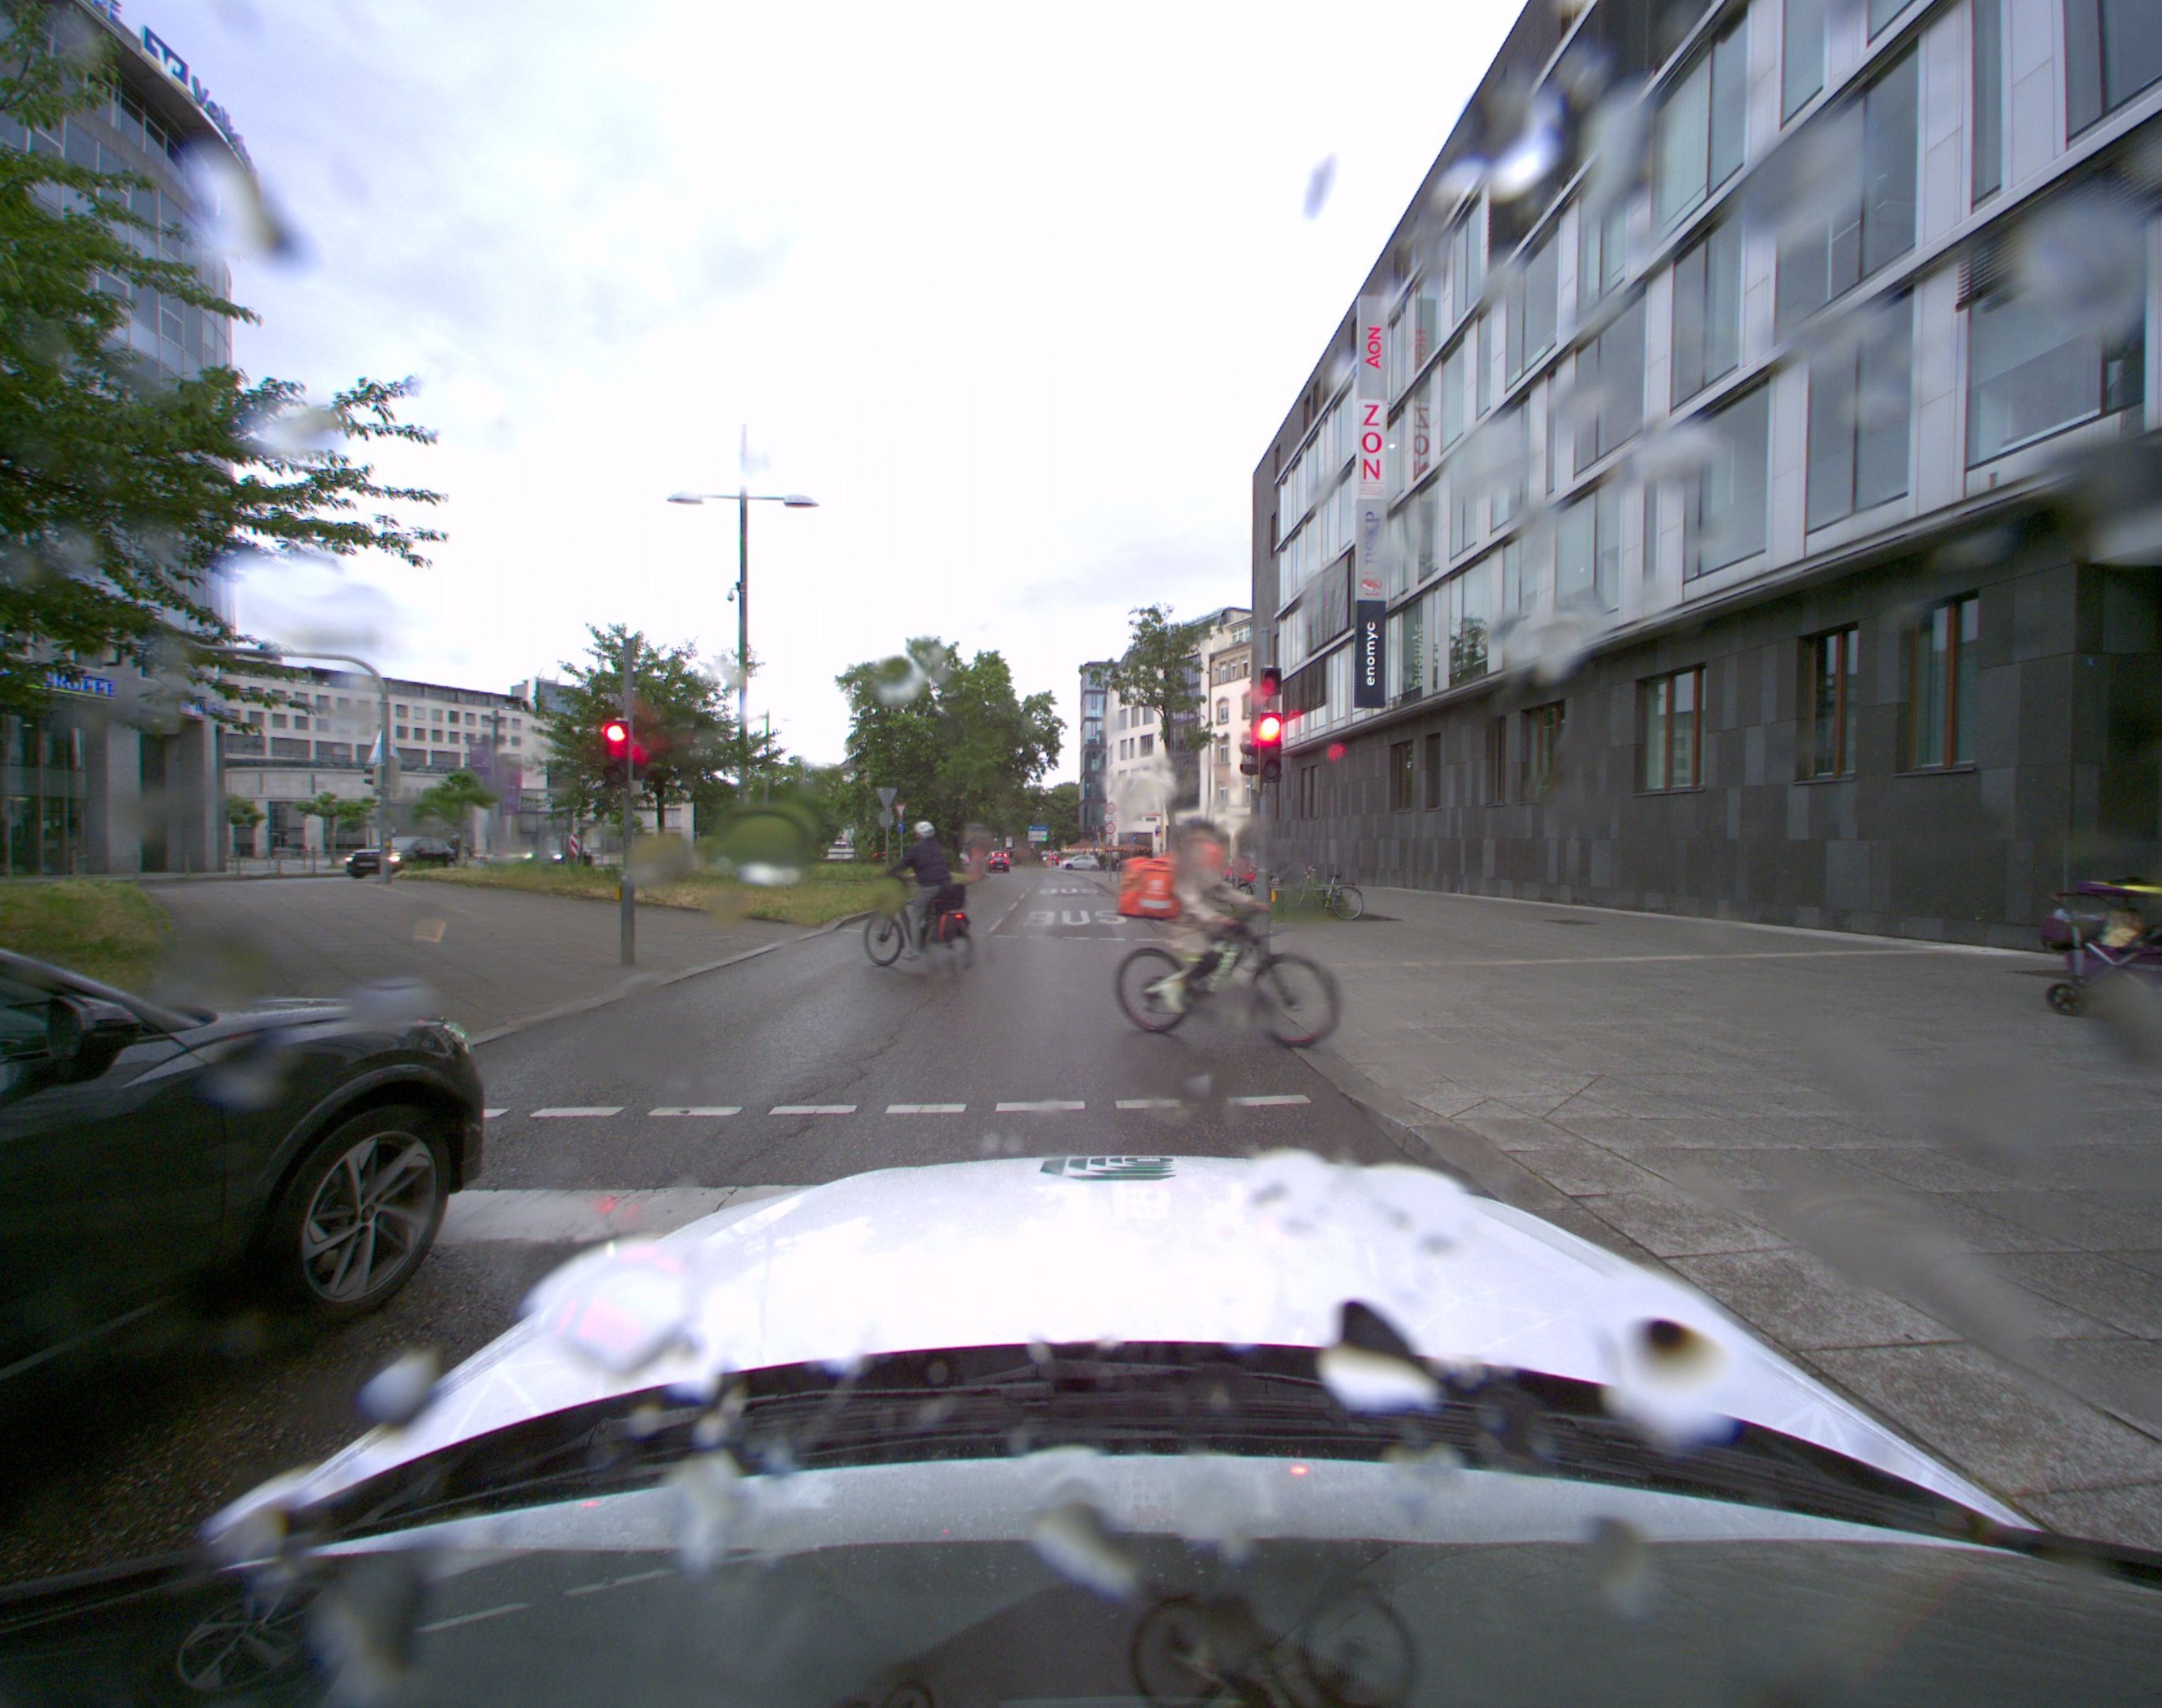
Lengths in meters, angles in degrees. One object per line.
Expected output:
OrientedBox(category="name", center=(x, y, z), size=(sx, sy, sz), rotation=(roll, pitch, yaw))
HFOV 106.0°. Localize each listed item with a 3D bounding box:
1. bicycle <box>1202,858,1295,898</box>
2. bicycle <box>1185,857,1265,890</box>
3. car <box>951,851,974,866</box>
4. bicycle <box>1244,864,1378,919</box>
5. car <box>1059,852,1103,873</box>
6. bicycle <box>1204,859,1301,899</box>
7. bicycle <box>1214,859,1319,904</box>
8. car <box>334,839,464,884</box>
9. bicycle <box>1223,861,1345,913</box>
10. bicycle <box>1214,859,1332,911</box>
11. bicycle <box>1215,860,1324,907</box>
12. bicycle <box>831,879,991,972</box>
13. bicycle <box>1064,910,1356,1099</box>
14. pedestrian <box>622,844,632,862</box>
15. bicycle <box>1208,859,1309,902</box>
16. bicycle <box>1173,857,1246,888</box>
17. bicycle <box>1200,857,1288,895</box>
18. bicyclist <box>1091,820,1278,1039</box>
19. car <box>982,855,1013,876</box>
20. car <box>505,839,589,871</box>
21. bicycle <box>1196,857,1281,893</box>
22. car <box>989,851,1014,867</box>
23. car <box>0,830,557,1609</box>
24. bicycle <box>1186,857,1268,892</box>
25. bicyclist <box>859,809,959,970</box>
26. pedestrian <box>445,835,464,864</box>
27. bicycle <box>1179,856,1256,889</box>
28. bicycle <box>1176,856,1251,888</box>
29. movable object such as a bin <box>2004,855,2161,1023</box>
OrientedBox(category="bicycle", center=(4.792, 0.675, 23.425), size=(2.530, 1.087, 0.677), rotation=(-1, 0, -3))
OrientedBox(category="bicycle", center=(4.788, 0.641, 27.194), size=(2.530, 1.087, 0.677), rotation=(-1, 0, -3))
OrientedBox(category="car", center=(-13.341, 0.464, 91.533), size=(1.950, 1.646, 4.220), rotation=(0, 0, -17))
OrientedBox(category="bicycle", center=(4.639, 0.738, 16.476), size=(2.530, 1.057, 0.677), rotation=(0, 0, -3))
OrientedBox(category="car", center=(-0.024, 0.753, 76.608), size=(3.973, 1.647, 2.000), rotation=(4, 0, 0))
OrientedBox(category="bicycle", center=(4.735, 0.690, 22.516), size=(2.530, 1.060, 0.677), rotation=(-1, 0, -3))
OrientedBox(category="bicycle", center=(4.732, 0.692, 20.838), size=(2.530, 1.087, 0.677), rotation=(-1, 0, -3))
OrientedBox(category="car", center=(-24.947, 0.262, 30.002), size=(1.804, 1.486, 3.987), rotation=(2, 0, -9))
OrientedBox(category="bicycle", center=(4.460, 0.719, 17.959), size=(2.530, 1.087, 0.677), rotation=(0, 0, -3))
OrientedBox(category="bicycle", center=(4.408, 0.712, 18.764), size=(2.530, 1.087, 0.677), rotation=(2, 0, -3))
OrientedBox(category="bicycle", center=(4.606, 0.713, 19.986), size=(2.530, 1.087, 0.677), rotation=(-1, 0, -3))
OrientedBox(category="bicycle", center=(-2.342, 0.934, 11.148), size=(2.106, 1.145, 0.767), rotation=(-1, -1, 26))
OrientedBox(category="bicycle", center=(1.014, 1.098, 6.564), size=(2.041, 1.114, 1.018), rotation=(2, 0, 33))
OrientedBox(category="pedestrian", center=(-51.640, -0.114, 92.648), size=(0.791, 2.014, 0.736), rotation=(2, 0, -17))
OrientedBox(category="bicycle", center=(4.701, 0.688, 21.650), size=(2.530, 1.087, 0.677), rotation=(-1, 0, -3))
OrientedBox(category="bicycle", center=(4.657, 0.653, 29.557), size=(2.530, 1.087, 0.627), rotation=(-1, 0, -3))
OrientedBox(category="bicycle", center=(4.922, 0.659, 24.619), size=(2.530, 1.087, 0.677), rotation=(-1, 0, -3))
OrientedBox(category="bicyclist", center=(0.862, 0.548, 6.676), size=(1.121, 1.582, 1.021), rotation=(2, 0, 33))
OrientedBox(category="car", center=(-7.225, 0.990, 70.199), size=(2.163, 1.706, 4.535), rotation=(0, 0, -12))
OrientedBox(category="car", center=(-27.347, 0.058, 41.872), size=(1.803, 1.486, 4.372), rotation=(2, 0, -8))
OrientedBox(category="bicycle", center=(4.942, 0.658, 25.598), size=(2.530, 1.087, 0.677), rotation=(-1, 0, -3))
OrientedBox(category="car", center=(-8.843, 0.513, 90.566), size=(2.182, 1.700, 3.981), rotation=(0, 0, -14))
OrientedBox(category="car", center=(-3.145, 0.750, 1.369), size=(1.843, 1.616, 4.250), rotation=(1, 1, -2))
OrientedBox(category="bicycle", center=(4.730, 0.658, 26.443), size=(2.530, 1.087, 0.677), rotation=(-1, 0, -3))
OrientedBox(category="bicyclist", center=(-2.350, 0.461, 11.135), size=(1.071, 2.083, 0.767), rotation=(-1, -1, 26))
OrientedBox(category="pedestrian", center=(-39.242, -0.286, 51.011), size=(0.621, 1.763, 0.722), rotation=(-2, 0, -14))
OrientedBox(category="bicycle", center=(4.693, 0.631, 28.086), size=(2.530, 1.087, 0.677), rotation=(-1, 0, -3))
OrientedBox(category="bicycle", center=(4.670, 0.643, 28.834), size=(2.530, 1.087, 0.677), rotation=(-1, 0, -3))
OrientedBox(category="movable object such as a bin", center=(8.715, 0.662, 6.627), size=(0.729, 1.264, 1.444), rotation=(-2, 0, -1))
